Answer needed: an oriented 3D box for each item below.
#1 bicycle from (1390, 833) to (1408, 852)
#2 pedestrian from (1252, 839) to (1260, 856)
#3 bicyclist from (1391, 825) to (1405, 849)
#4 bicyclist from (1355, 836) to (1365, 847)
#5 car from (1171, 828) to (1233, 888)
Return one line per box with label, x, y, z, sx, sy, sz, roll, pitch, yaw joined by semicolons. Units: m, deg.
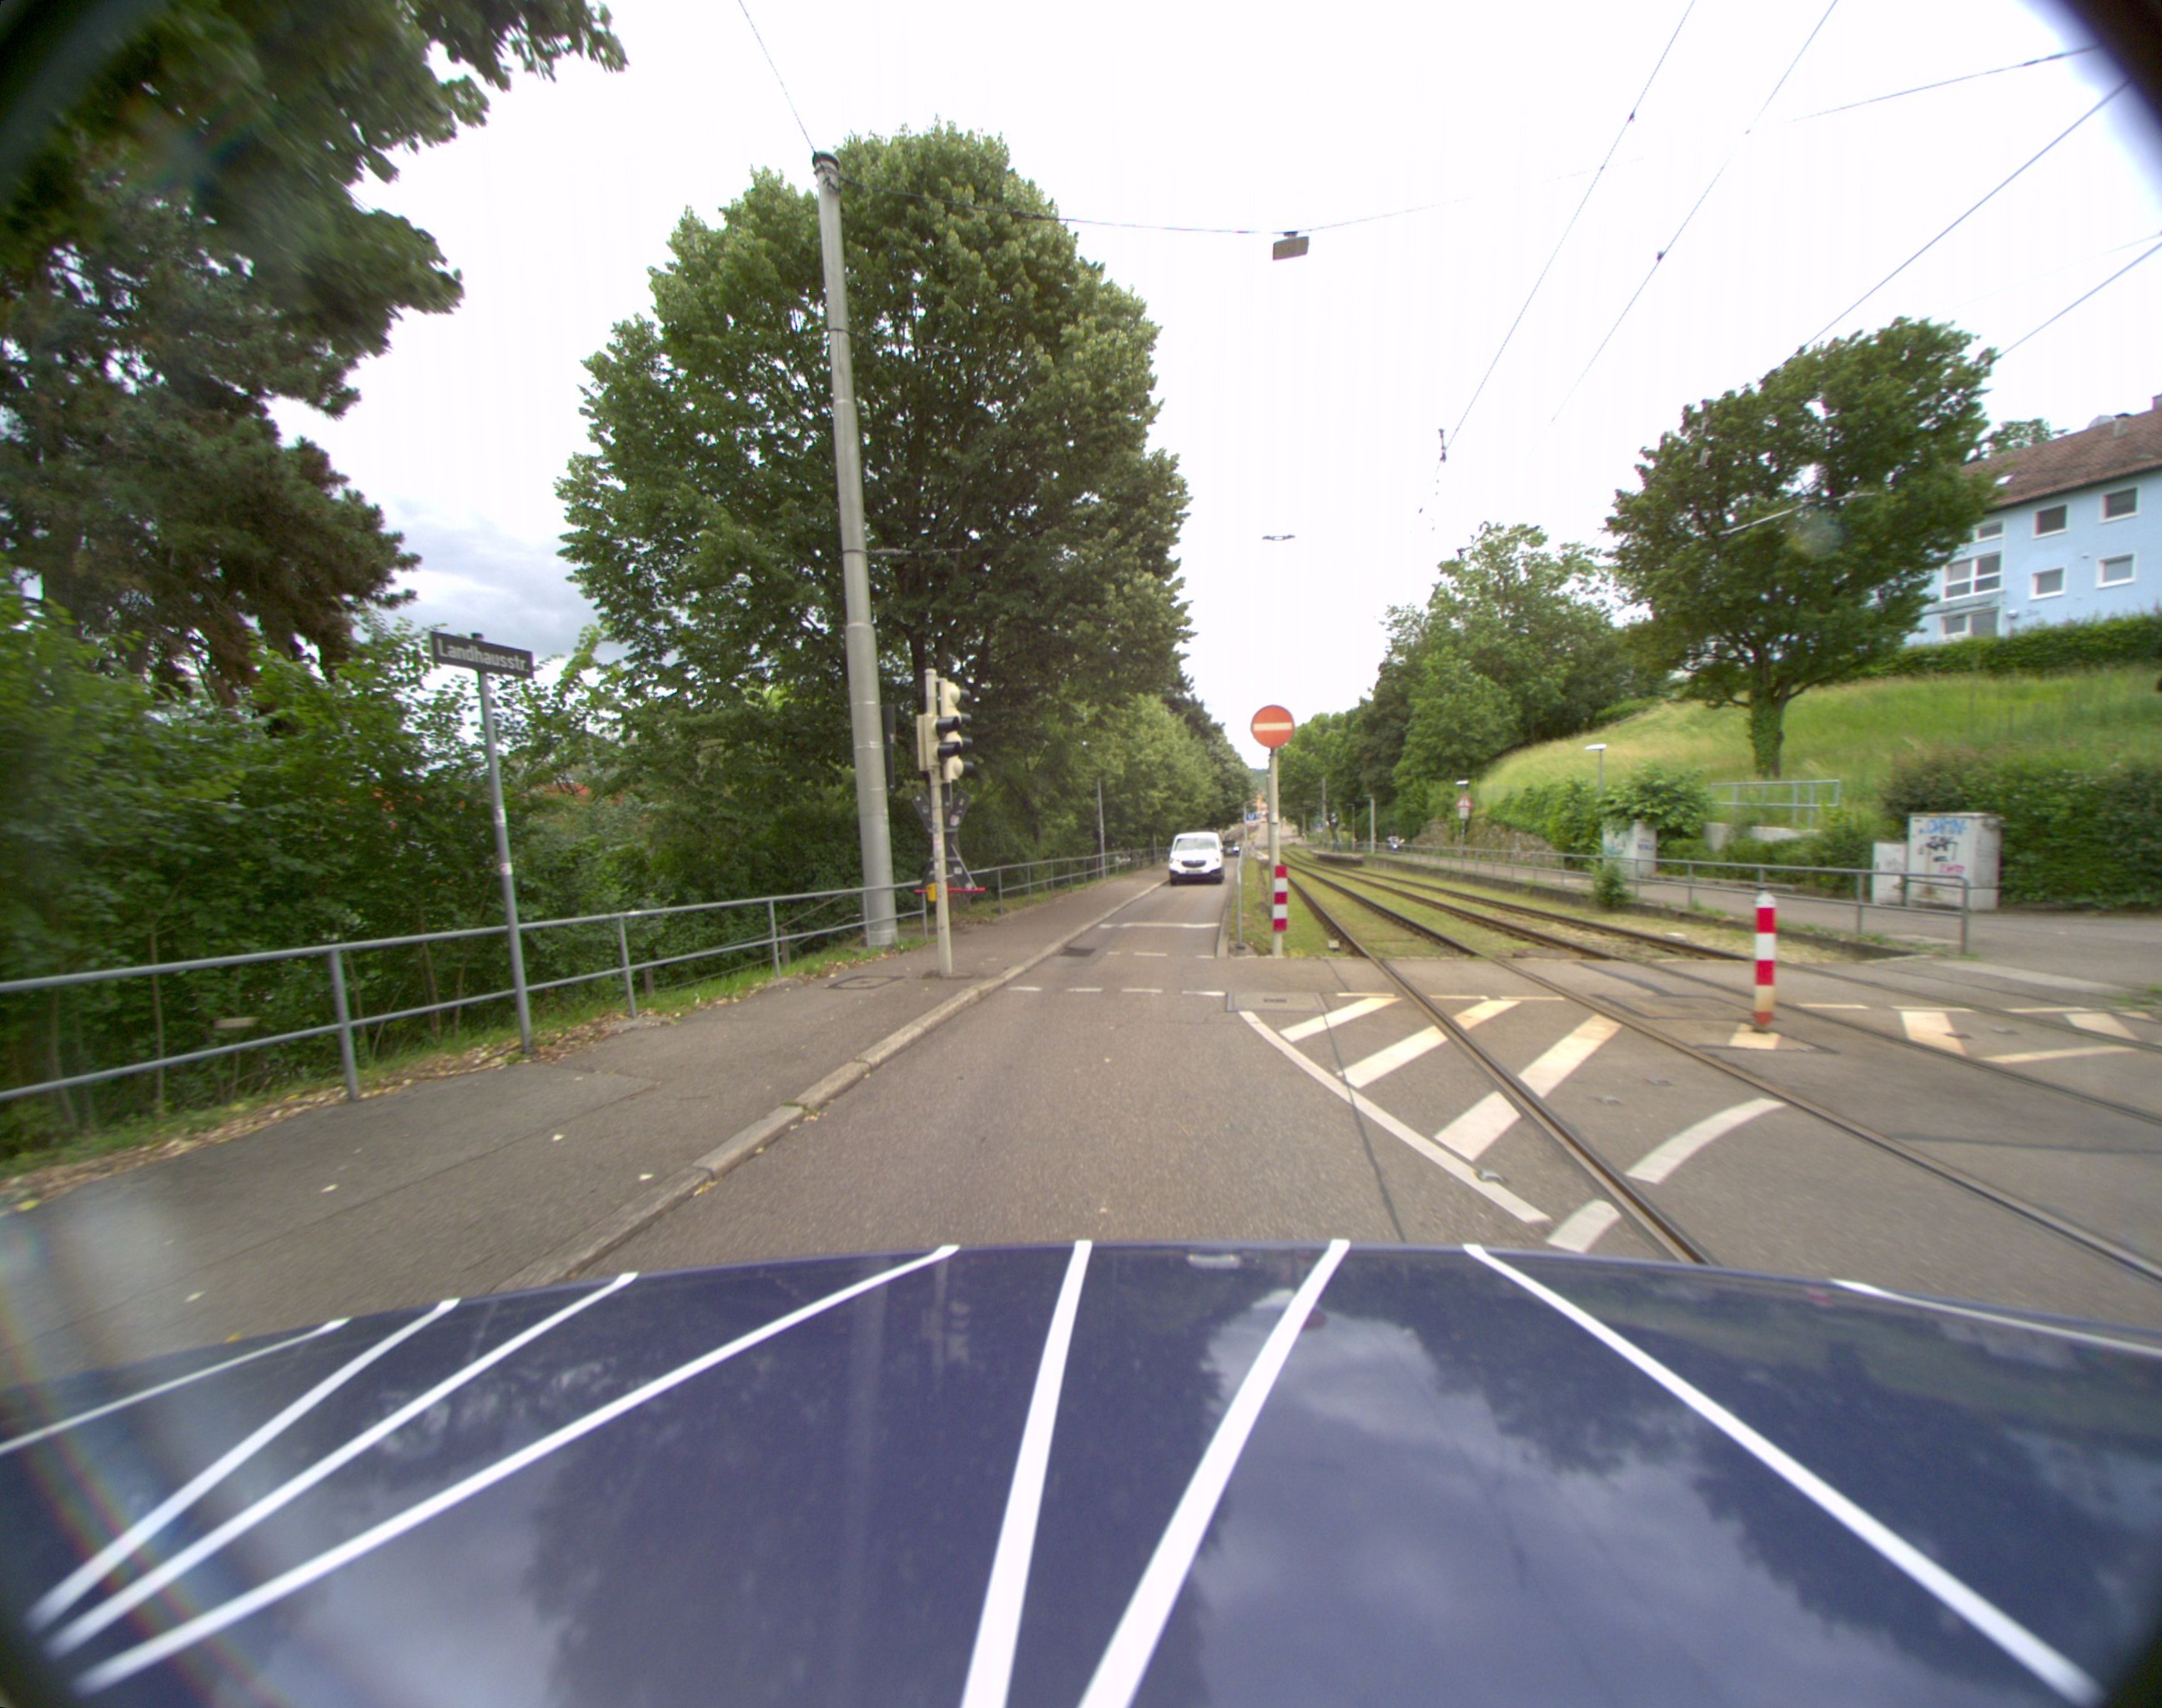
bicycle;21.686;-0.753;51.860;0.751;1.233;2.870;-3;0;17
pedestrian;16.469;-0.612;71.504;0.738;1.493;0.627;-2;0;14
bicyclist;21.904;-1.152;52.538;0.705;1.619;1.033;-3;0;16
bicyclist;26.147;-1.155;71.203;0.690;1.047;0.745;-2;0;13
car;4.428;0.078;27.335;1.808;1.910;4.481;-2;2;14
